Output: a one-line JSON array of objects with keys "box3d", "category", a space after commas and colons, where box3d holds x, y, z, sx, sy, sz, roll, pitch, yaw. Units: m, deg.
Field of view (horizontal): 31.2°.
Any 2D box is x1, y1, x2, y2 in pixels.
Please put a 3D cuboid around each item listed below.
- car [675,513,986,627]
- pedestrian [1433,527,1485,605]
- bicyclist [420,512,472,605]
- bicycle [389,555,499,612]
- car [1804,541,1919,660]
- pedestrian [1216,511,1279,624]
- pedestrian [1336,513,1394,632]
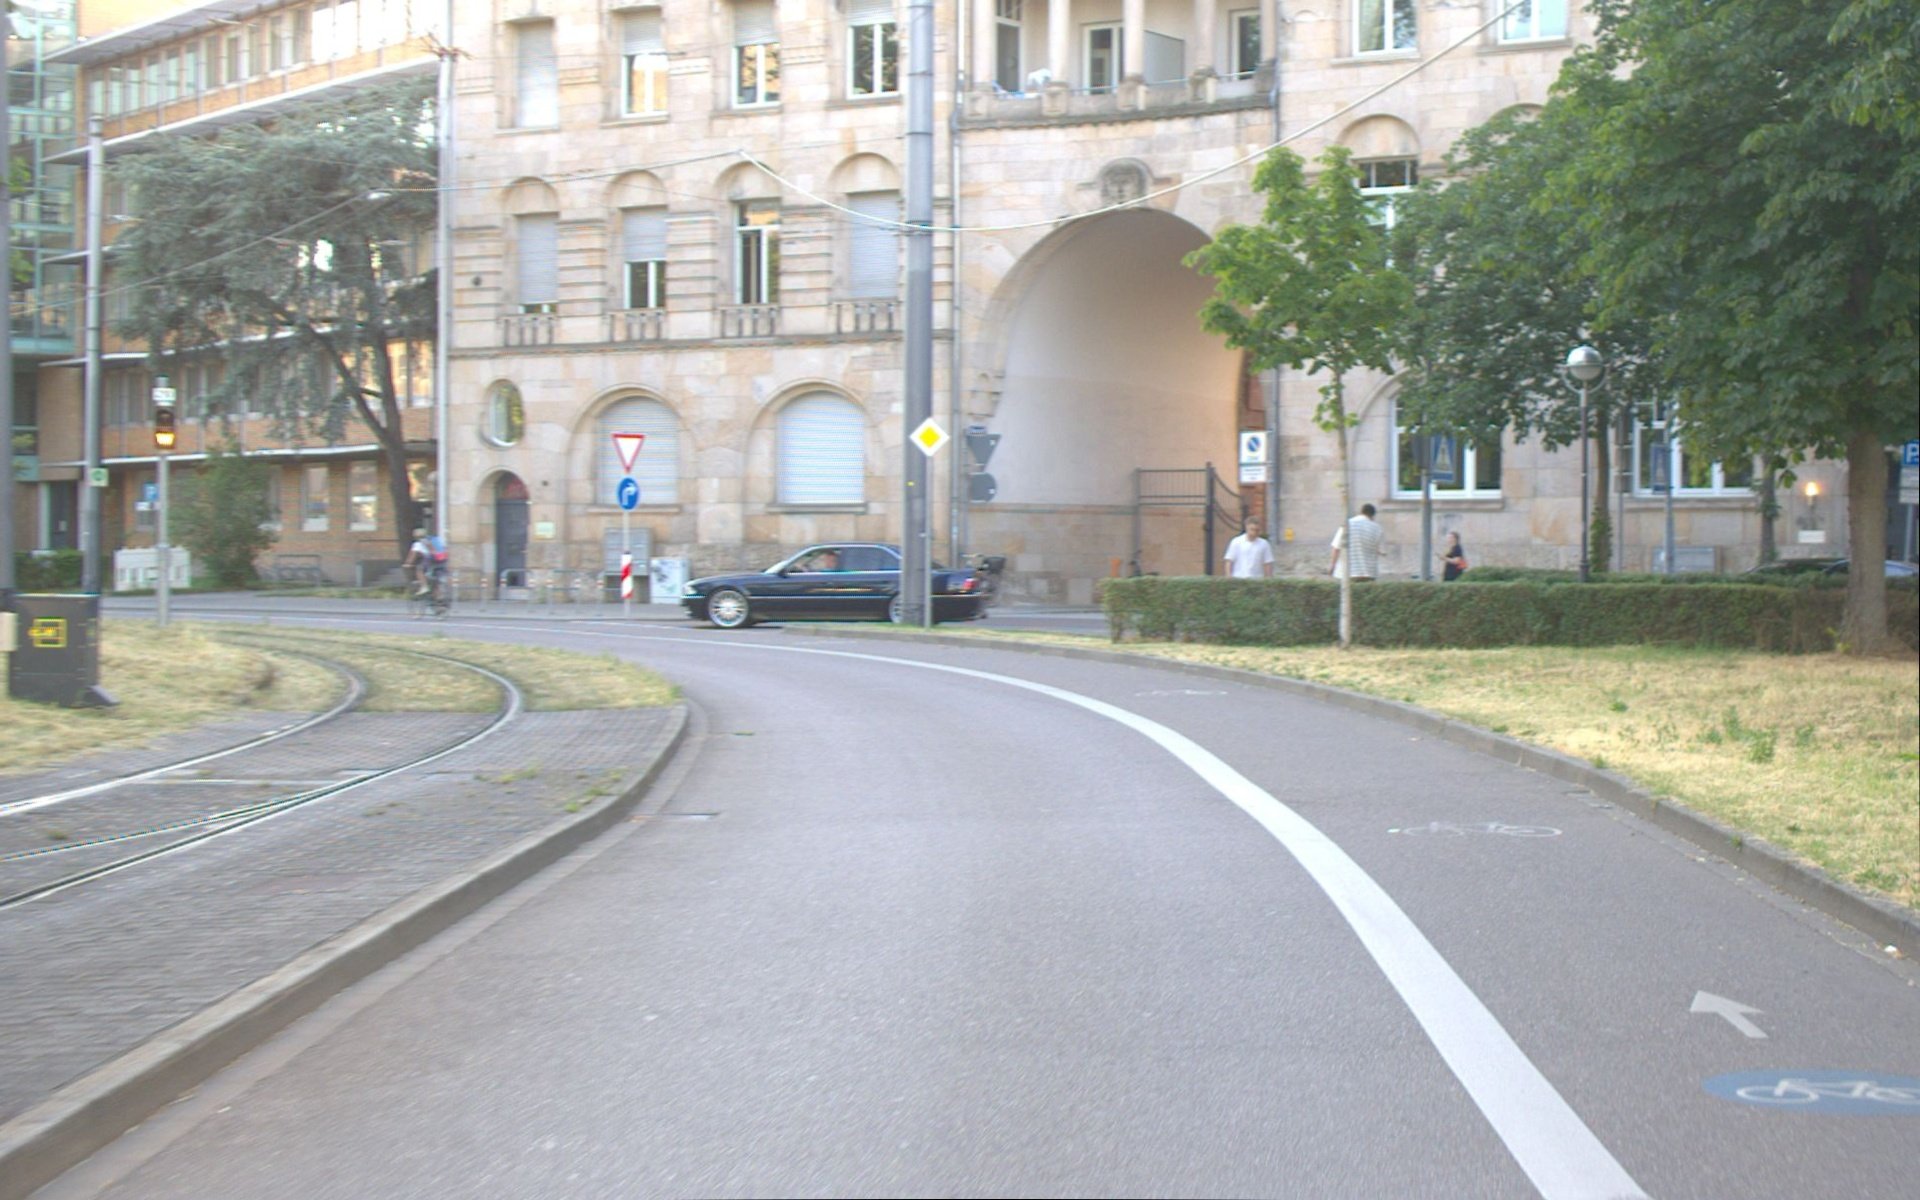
[{"box3d": [-2.032, -0.496, 54.884, 4.755, 1.755, 1.820, 1, 1, 5], "category": "car"}, {"box3d": [8.771, -0.604, 60.420, 0.686, 1.363, 0.634, 1, 1, 34], "category": "pedestrian"}, {"box3d": [-9.113, -0.746, 60.931, 0.774, 1.636, 0.509, 1, 1, 38], "category": "bicyclist"}, {"box3d": [-9.157, -0.301, 60.977, 2.240, 0.975, 0.509, 1, 2, 38], "category": "bicycle"}, {"box3d": [12.695, -0.005, 42.898, 4.316, 1.421, 1.861, 0, 0, -36], "category": "car"}, {"box3d": [3.871, -0.439, 46.288, 0.593, 1.506, 0.686, 1, 1, 31], "category": "pedestrian"}, {"box3d": [5.188, -0.359, 44.017, 0.633, 1.506, 0.687, 1, 1, 14], "category": "pedestrian"}]
